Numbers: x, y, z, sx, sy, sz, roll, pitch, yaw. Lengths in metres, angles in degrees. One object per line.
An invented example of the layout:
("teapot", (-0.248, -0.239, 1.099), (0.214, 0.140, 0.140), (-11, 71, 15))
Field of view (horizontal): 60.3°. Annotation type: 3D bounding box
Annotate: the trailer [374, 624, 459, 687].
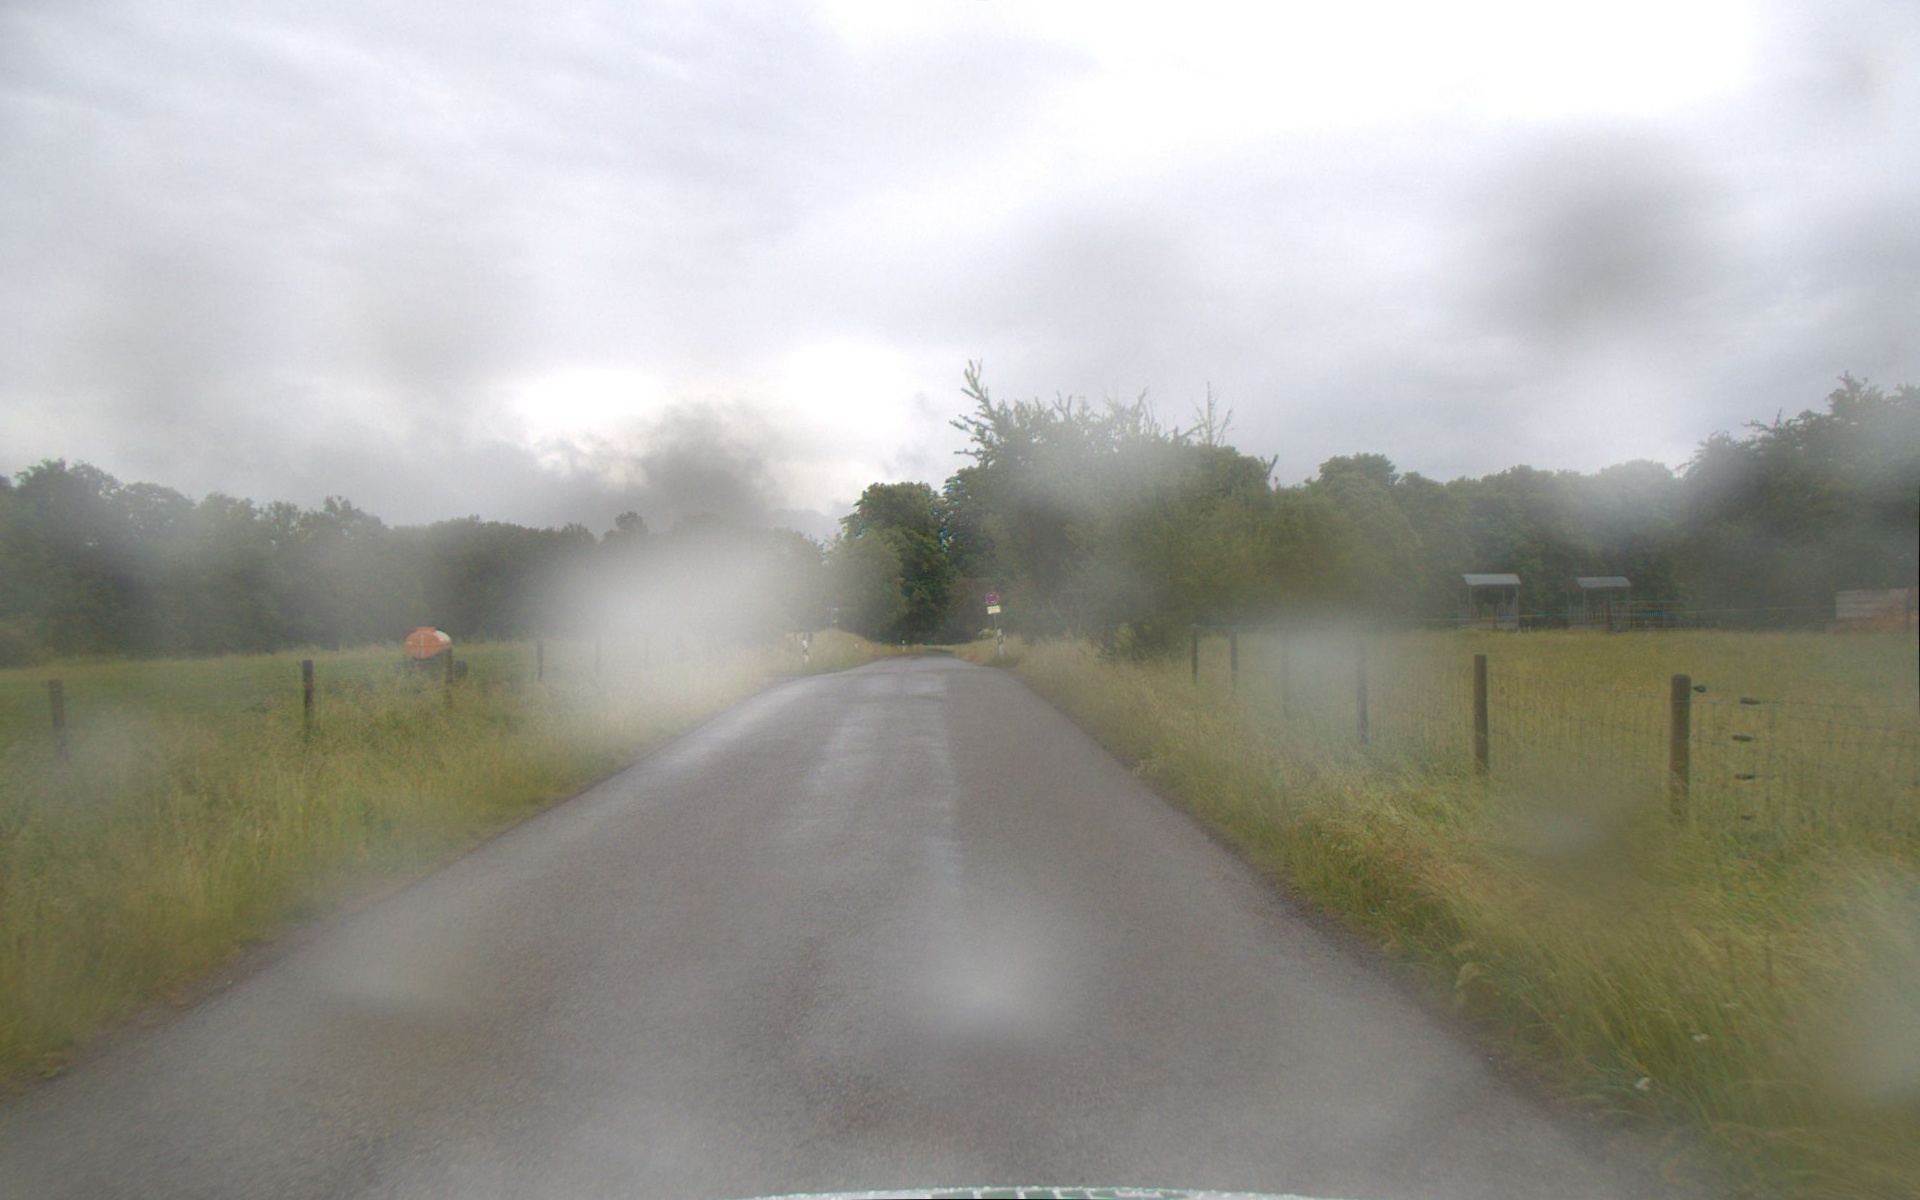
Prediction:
("trailer", (-14.107, 1.418, 43.058), (1.720, 1.531, 3.081), (-2, -1, -11))
